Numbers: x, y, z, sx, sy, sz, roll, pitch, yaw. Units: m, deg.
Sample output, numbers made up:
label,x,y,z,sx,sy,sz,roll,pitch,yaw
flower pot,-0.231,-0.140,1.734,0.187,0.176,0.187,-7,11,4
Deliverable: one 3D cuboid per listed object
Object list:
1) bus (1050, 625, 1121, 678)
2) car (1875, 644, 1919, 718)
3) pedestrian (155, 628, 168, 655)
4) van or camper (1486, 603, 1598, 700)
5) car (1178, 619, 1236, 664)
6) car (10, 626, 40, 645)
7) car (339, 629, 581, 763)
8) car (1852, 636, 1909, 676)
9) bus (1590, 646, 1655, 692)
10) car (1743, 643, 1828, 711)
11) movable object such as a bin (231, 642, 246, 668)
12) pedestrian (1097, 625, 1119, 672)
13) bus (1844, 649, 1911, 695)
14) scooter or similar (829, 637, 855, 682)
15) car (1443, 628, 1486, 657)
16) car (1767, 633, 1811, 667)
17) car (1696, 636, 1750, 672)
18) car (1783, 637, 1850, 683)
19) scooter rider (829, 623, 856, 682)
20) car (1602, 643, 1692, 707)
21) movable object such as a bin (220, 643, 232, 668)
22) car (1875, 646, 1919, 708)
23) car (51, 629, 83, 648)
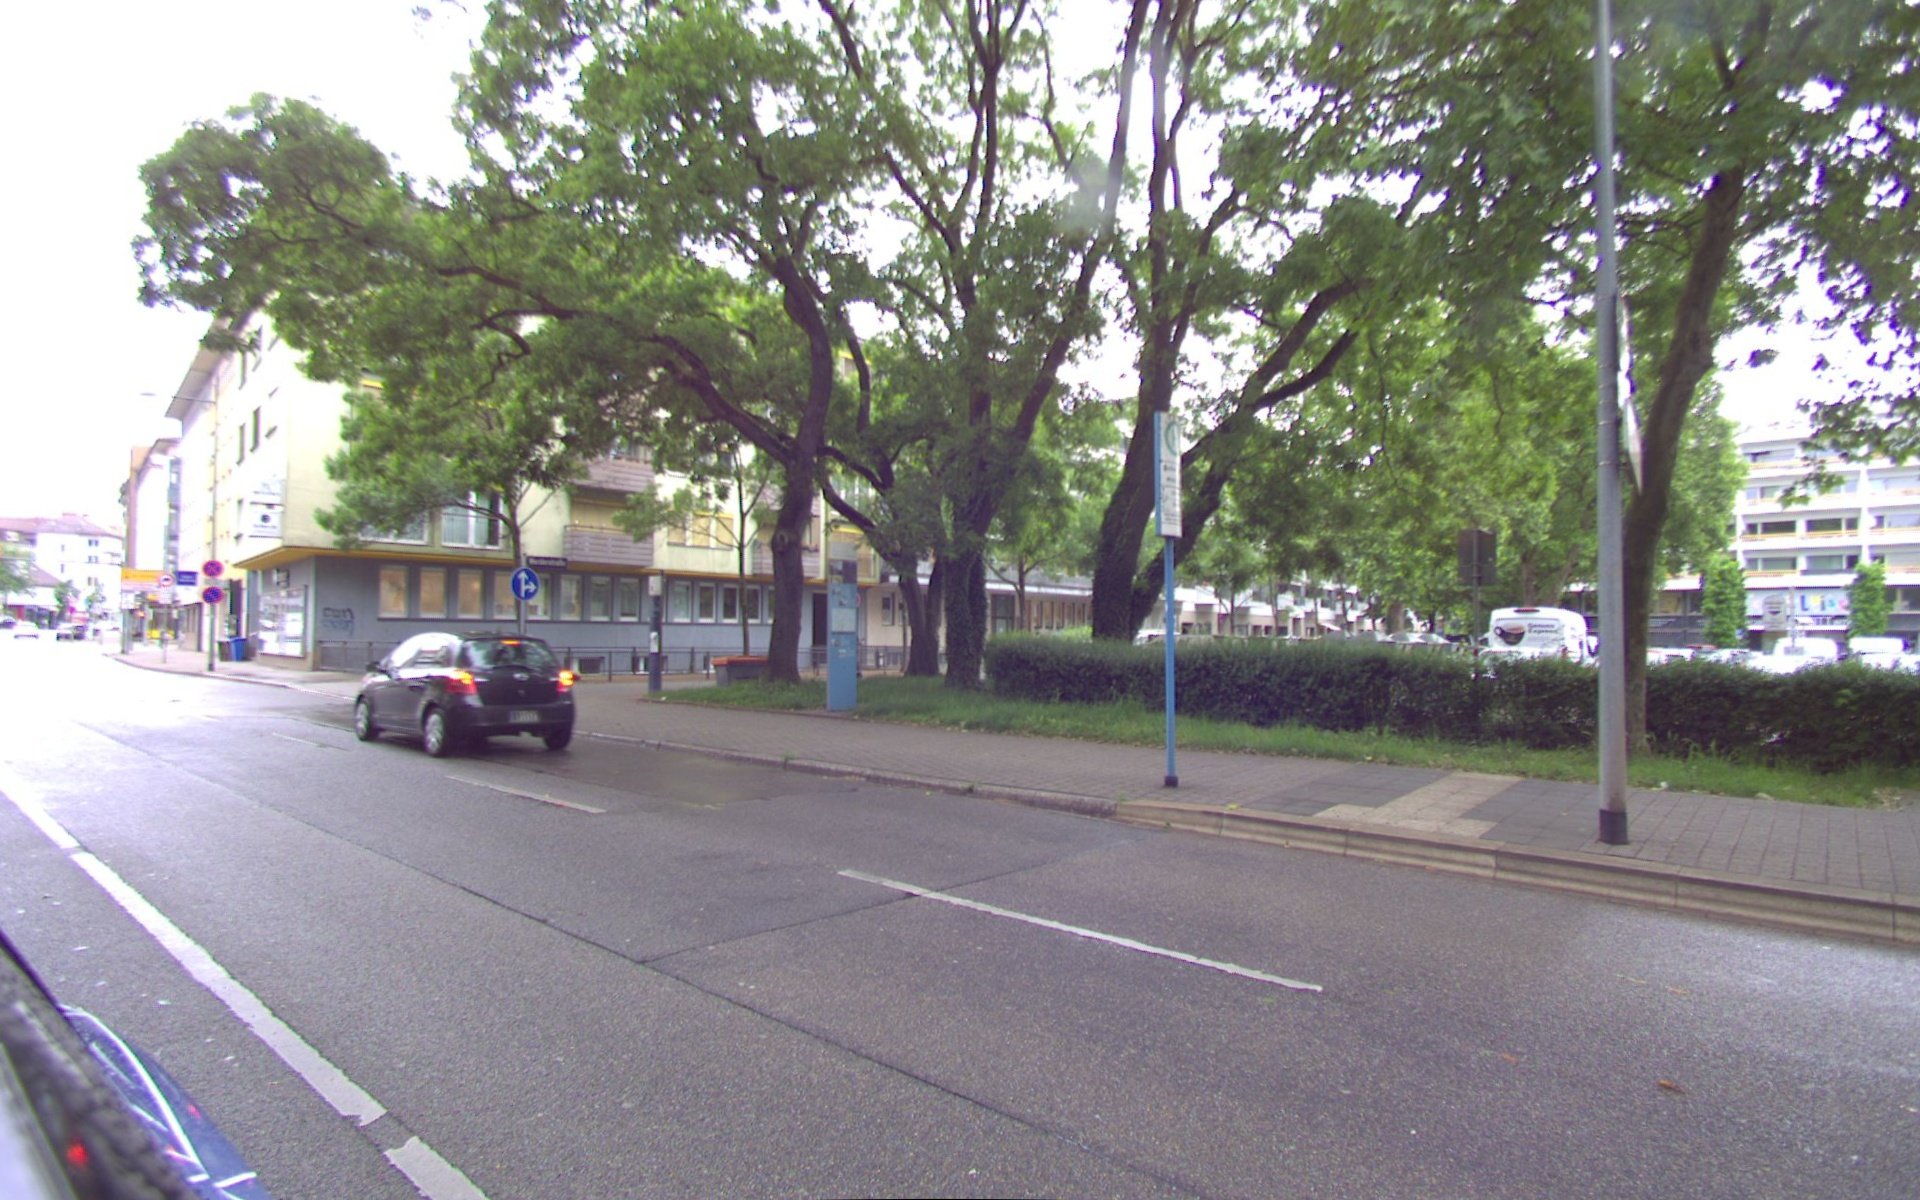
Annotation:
label,x,y,z,sx,sy,sz,roll,pitch,yaw
bus,4.842,1.962,38.680,1.703,1.939,3.697,0,-3,24
car,19.933,1.659,20.935,1.391,1.446,3.227,-2,-4,41
pedestrian,-54.153,2.818,68.622,0.586,1.858,0.565,3,-4,-42
van or camper,16.851,1.464,29.203,2.097,2.556,4.367,-1,-3,40
car,11.732,1.959,47.897,1.988,2.029,3.967,0,-3,24
car,-88.387,3.374,95.692,4.002,1.670,1.842,-2,-4,45
car,-6.598,1.161,13.218,3.565,1.500,1.551,-1,-4,41
car,40.369,2.419,44.438,1.639,1.536,3.161,-1,0,38
bus,24.224,2.489,36.978,1.604,1.551,3.385,-1,-3,40
car,19.242,1.754,23.557,1.391,1.446,3.227,-2,-4,41
movable object such as a bin,-29.840,2.270,41.845,0.409,1.037,0.354,3,-4,-42
pedestrian,3.938,1.292,26.936,0.483,1.222,0.434,-1,0,25
bus,33.162,2.569,36.650,1.604,1.551,3.385,-1,-3,40
scooter or similar,-3.741,1.865,32.093,0.666,1.392,0.670,-1,-2,-17
car,27.312,2.285,54.726,1.428,1.439,2.926,-2,-1,40
car,41.990,2.497,51.294,1.639,1.536,3.161,-1,0,38
car,35.725,2.480,47.356,1.837,1.435,3.780,-1,0,39
car,28.179,1.959,33.345,1.604,1.439,3.275,-1,-3,40
scooter rider,-3.732,1.651,32.085,0.700,1.831,0.700,-1,-3,-17
car,16.737,1.790,24.611,1.391,1.446,3.227,-2,-4,41
movable object such as a bin,-30.217,2.273,41.645,0.333,1.037,0.354,3,-4,-42
car,23.421,1.865,24.799,1.391,1.446,3.227,-2,-4,41
car,-82.149,3.550,93.054,4.002,1.730,1.863,-2,-4,45
